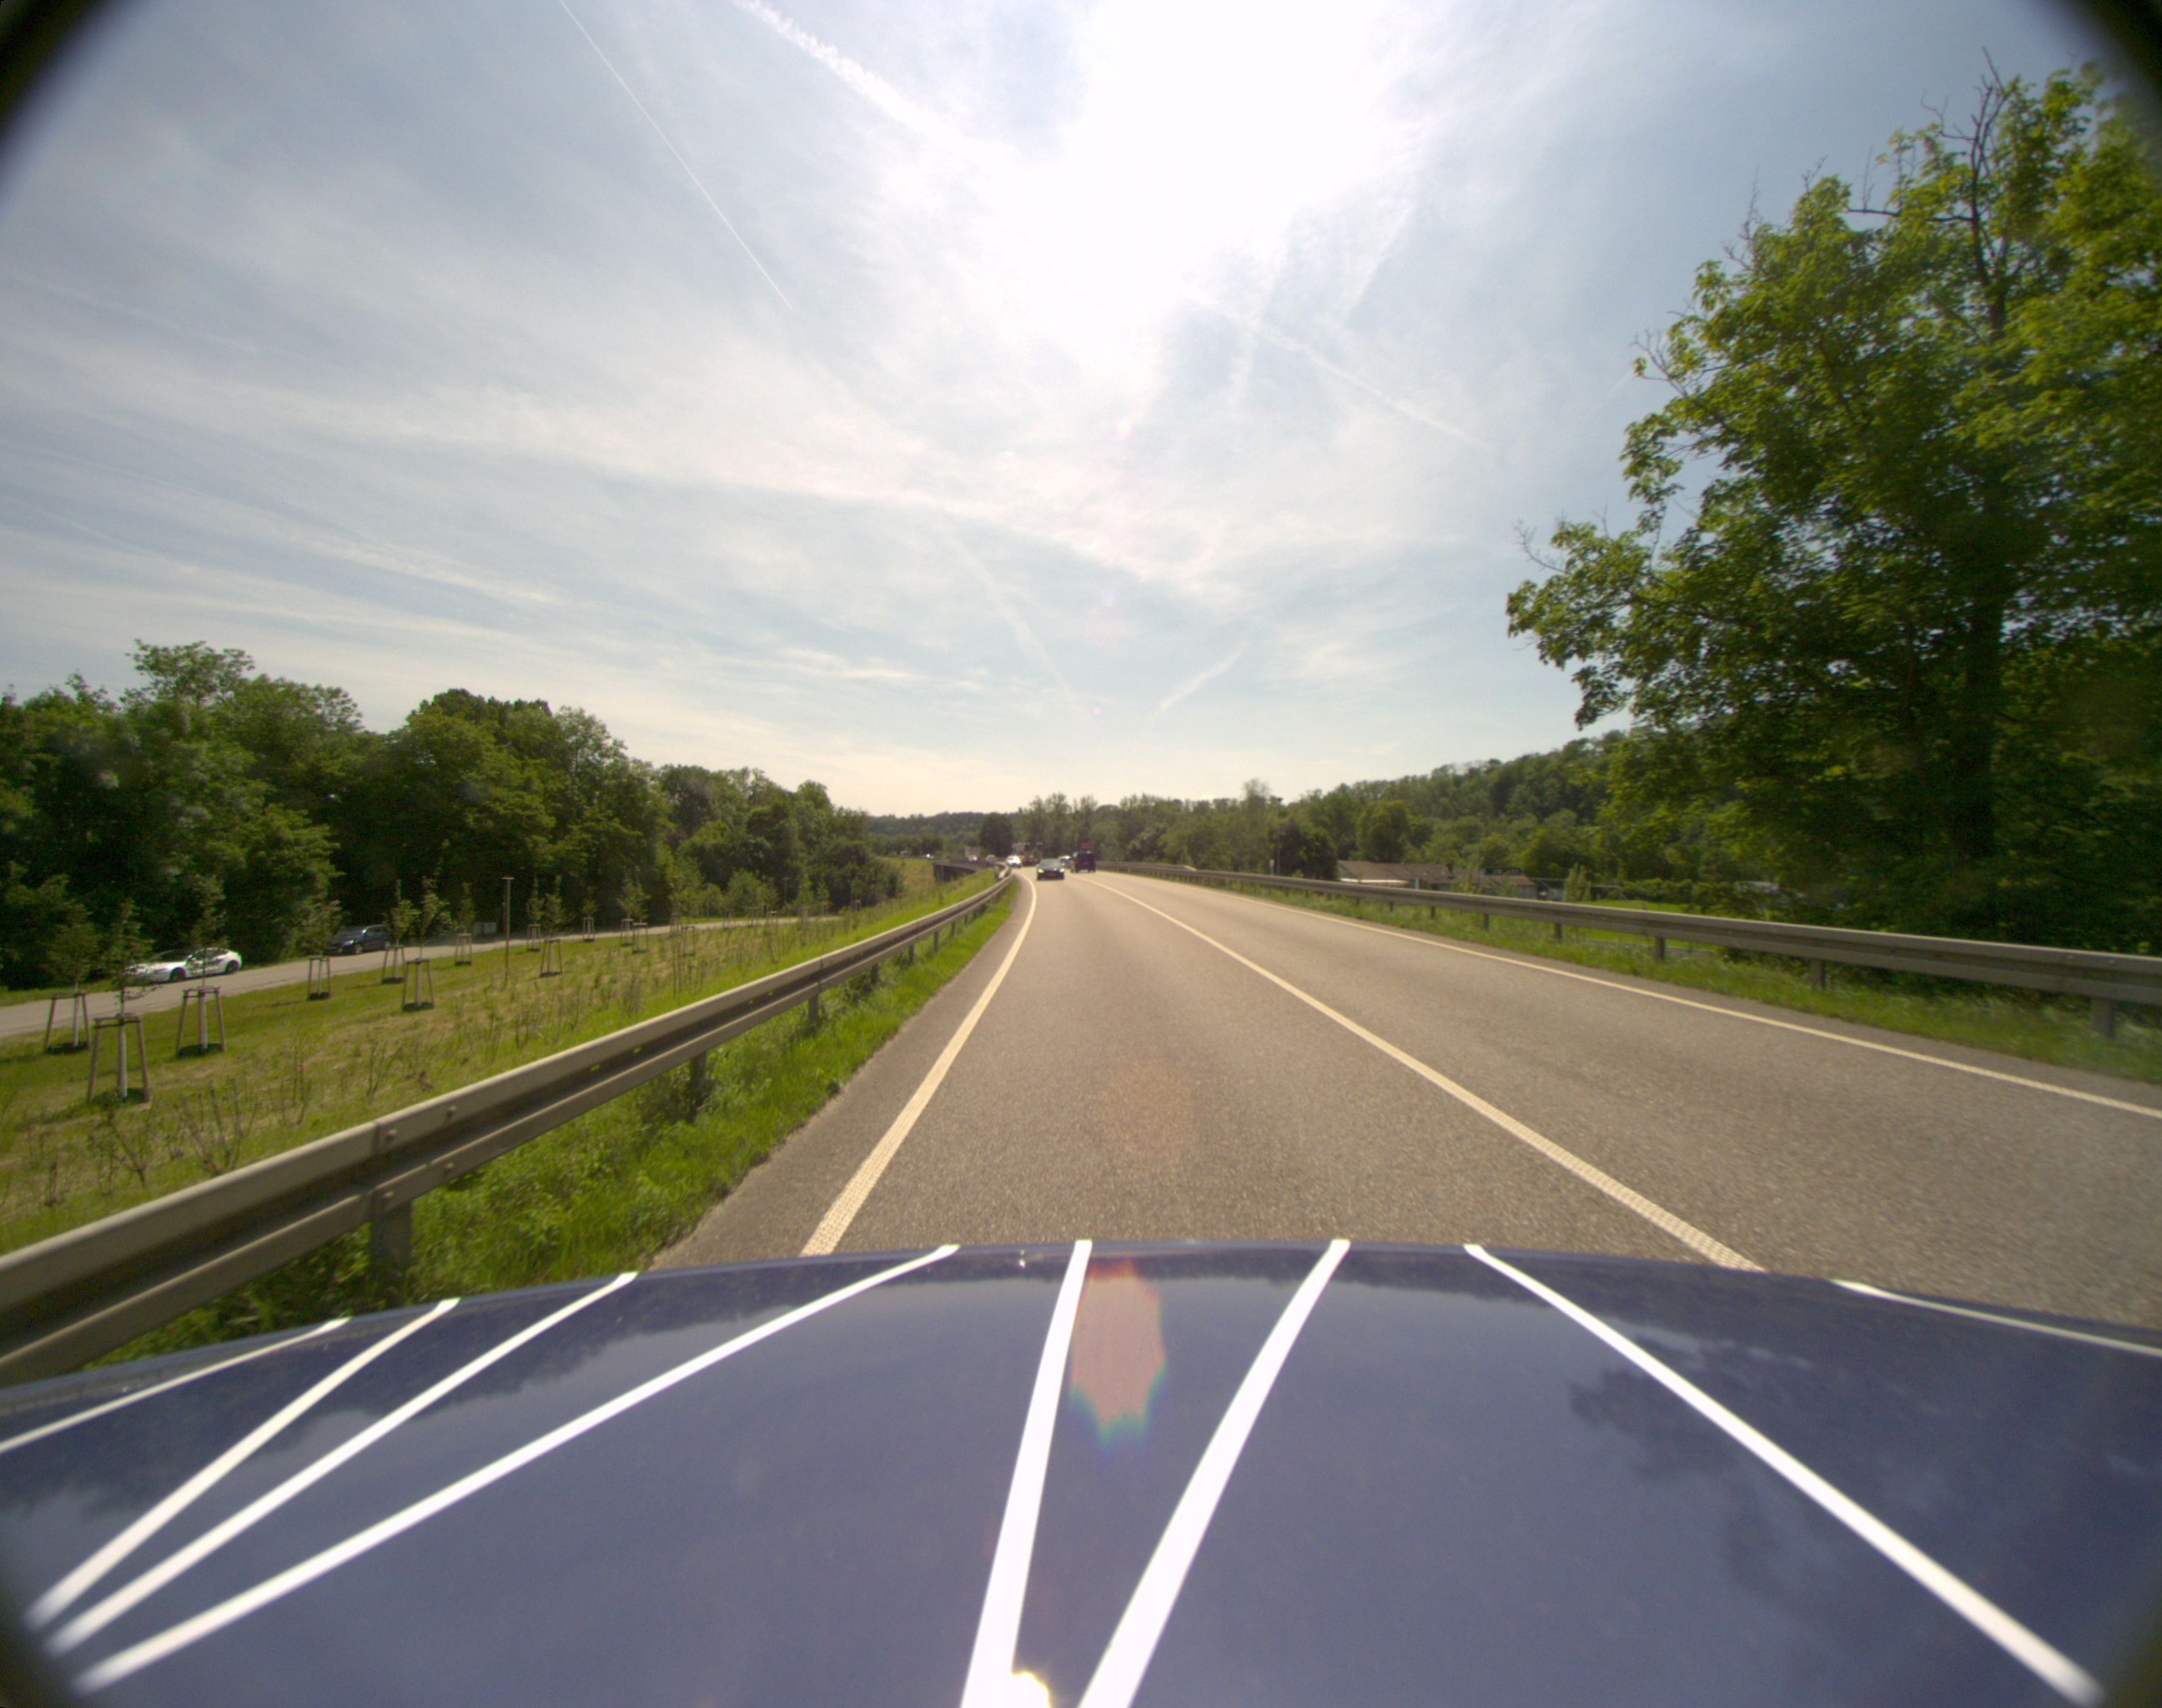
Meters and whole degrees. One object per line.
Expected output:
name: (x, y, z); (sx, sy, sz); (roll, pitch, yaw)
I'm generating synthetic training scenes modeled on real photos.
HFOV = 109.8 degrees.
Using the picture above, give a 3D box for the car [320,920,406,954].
car: (-45.432, 5.224, 48.191); (1.864, 1.672, 4.196); (2, -1, -9)

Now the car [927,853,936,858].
car: (-48.058, 0.543, 244.448); (1.728, 1.427, 4.607); (-2, 1, -24)

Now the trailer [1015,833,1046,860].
trailer: (-8.129, -1.110, 119.288); (3.129, 3.957, 15.341); (-1, 1, -10)

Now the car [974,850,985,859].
car: (-21.290, 0.057, 159.466); (1.982, 1.723, 3.995); (-2, 1, -12)

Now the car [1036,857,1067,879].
car: (-2.061, 0.935, 52.309); (1.981, 1.333, 3.998); (-2, 0, -4)

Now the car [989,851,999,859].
car: (-18.775, 0.184, 164.363); (1.764, 1.503, 3.994); (-2, 2, -12)

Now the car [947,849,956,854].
car: (-37.727, -0.816, 221.391); (1.728, 1.474, 4.561); (-2, 1, -20)

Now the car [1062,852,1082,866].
car: (-1.025, 0.522, 85.104); (1.773, 1.485, 4.167); (-2, 1, -6)

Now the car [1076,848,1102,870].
car: (0.690, 0.436, 69.485); (1.927, 1.849, 5.173); (-2, 1, -4)

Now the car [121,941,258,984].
car: (-43.313, 5.230, 37.107); (1.864, 1.474, 4.603); (2, -1, -12)

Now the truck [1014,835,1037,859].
truck: (-9.270, -1.148, 125.722); (3.129, 3.935, 6.615); (-1, 1, -10)

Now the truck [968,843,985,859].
truck: (-25.665, -0.749, 186.247); (2.925, 3.781, 9.695); (-2, 0, -14)

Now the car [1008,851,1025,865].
car: (-8.813, 0.556, 103.625); (1.982, 1.779, 3.996); (-2, 2, -9)
